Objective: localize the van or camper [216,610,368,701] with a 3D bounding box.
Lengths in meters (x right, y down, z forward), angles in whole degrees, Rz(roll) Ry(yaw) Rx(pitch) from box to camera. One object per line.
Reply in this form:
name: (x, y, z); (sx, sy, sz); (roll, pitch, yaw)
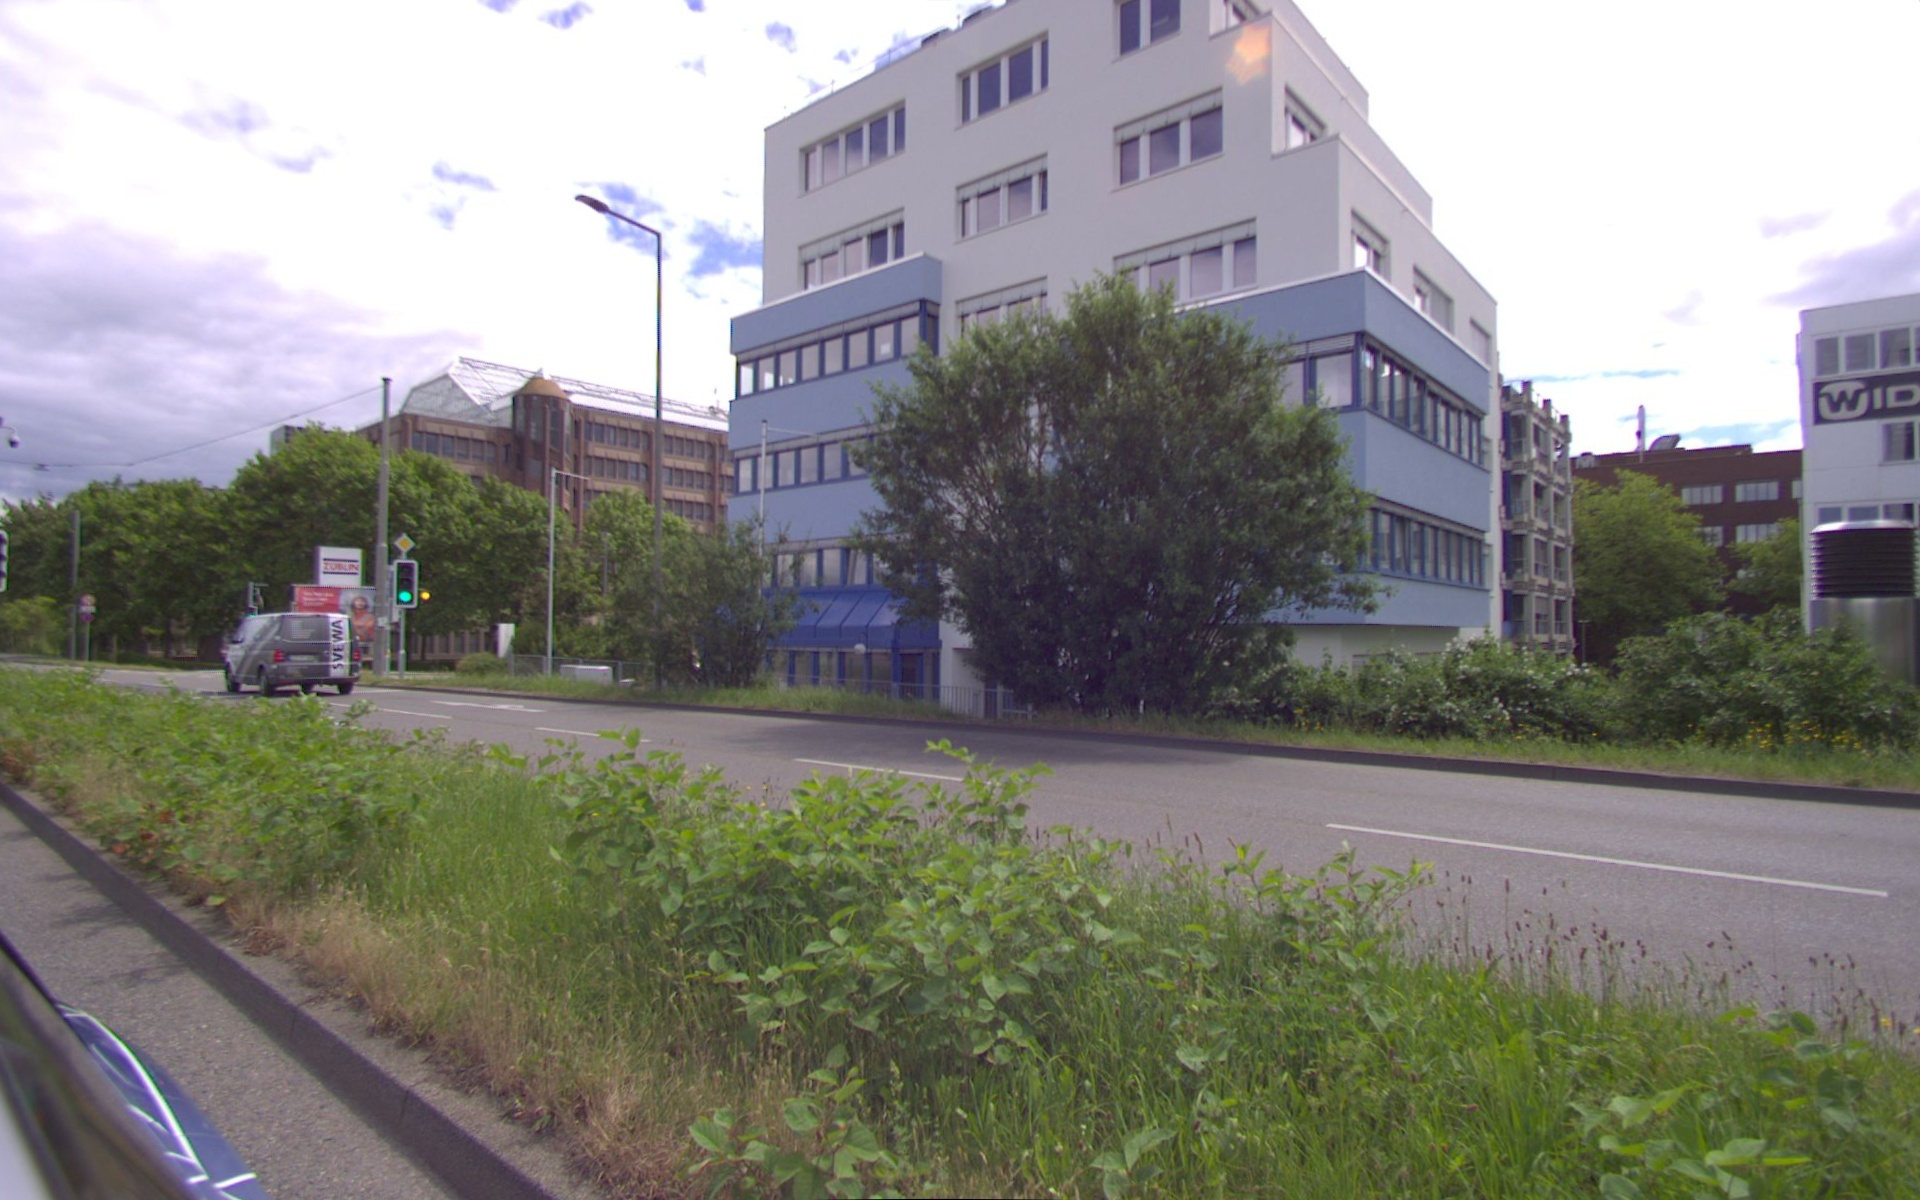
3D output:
van or camper: (-16.502, 1.306, 24.899); (4.814, 2.029, 1.972); (-2, -2, 42)
